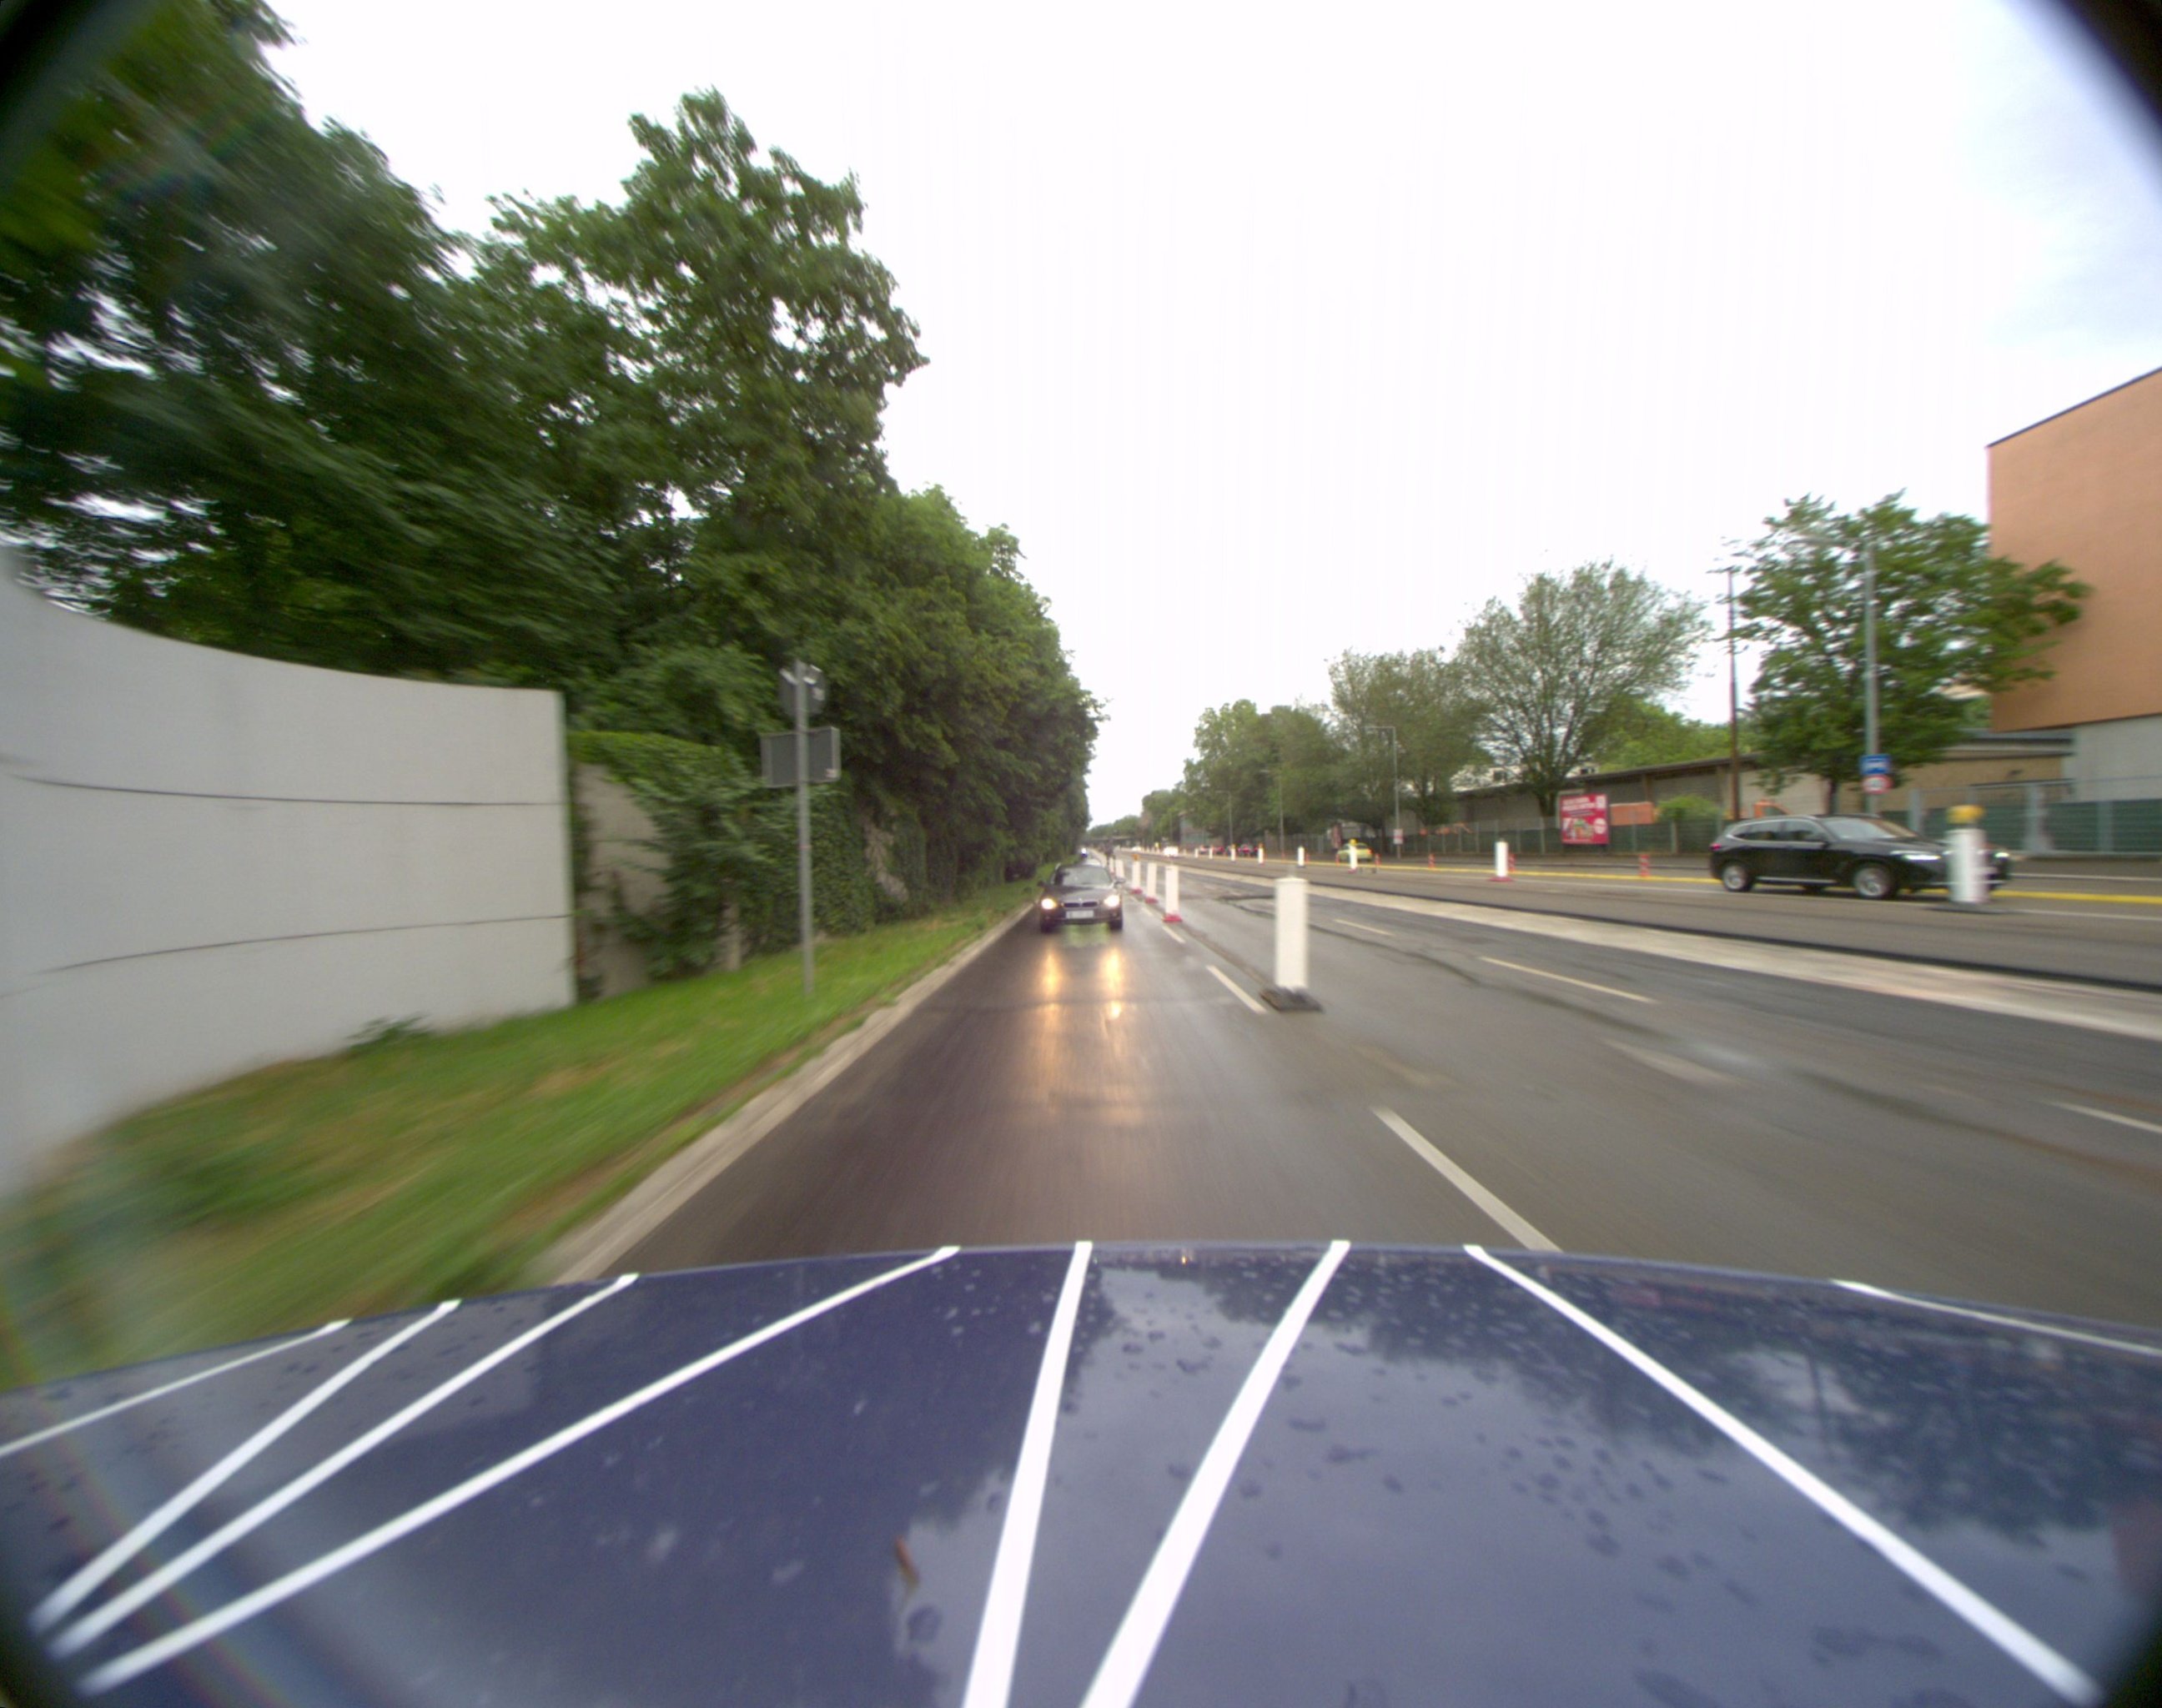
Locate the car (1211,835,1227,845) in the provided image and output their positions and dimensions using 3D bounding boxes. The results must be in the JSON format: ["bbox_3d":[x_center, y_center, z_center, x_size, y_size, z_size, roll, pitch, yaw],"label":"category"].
[{"bbox_3d":[22.521,-2.317,124.486,1.863,1.610,4.364,-1,1,1],"label":"car"}]

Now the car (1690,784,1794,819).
[{"bbox_3d":[34.546,-2.731,39.849,4.012,1.519,2.004,-2,1,39],"label":"car"}]

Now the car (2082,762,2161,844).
[{"bbox_3d":[29.003,-1.363,19.399,1.614,2.158,3.999,-3,1,0],"label":"car"}]

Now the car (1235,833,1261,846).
[{"bbox_3d":[21.878,-1.930,99.695,1.865,1.621,4.324,-1,1,-9],"label":"car"}]

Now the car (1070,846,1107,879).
[{"bbox_3d":[0.417,0.402,39.847,1.742,1.454,4.457,-3,1,1],"label":"car"}]

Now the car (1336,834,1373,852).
[{"bbox_3d":[21.273,-0.867,59.198,1.557,1.360,3.804,-1,1,0],"label":"car"}]

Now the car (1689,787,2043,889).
[{"bbox_3d":[15.257,-0.290,15.324,1.998,1.696,4.983,-1,0,0],"label":"car"}]

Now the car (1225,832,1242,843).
[{"bbox_3d":[22.297,-2.385,111.197,1.863,1.467,3.731,-1,1,1],"label":"car"}]

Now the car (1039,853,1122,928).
[{"bbox_3d":[0.031,0.805,18.792,1.742,1.454,4.457,-3,1,1],"label":"car"}]
